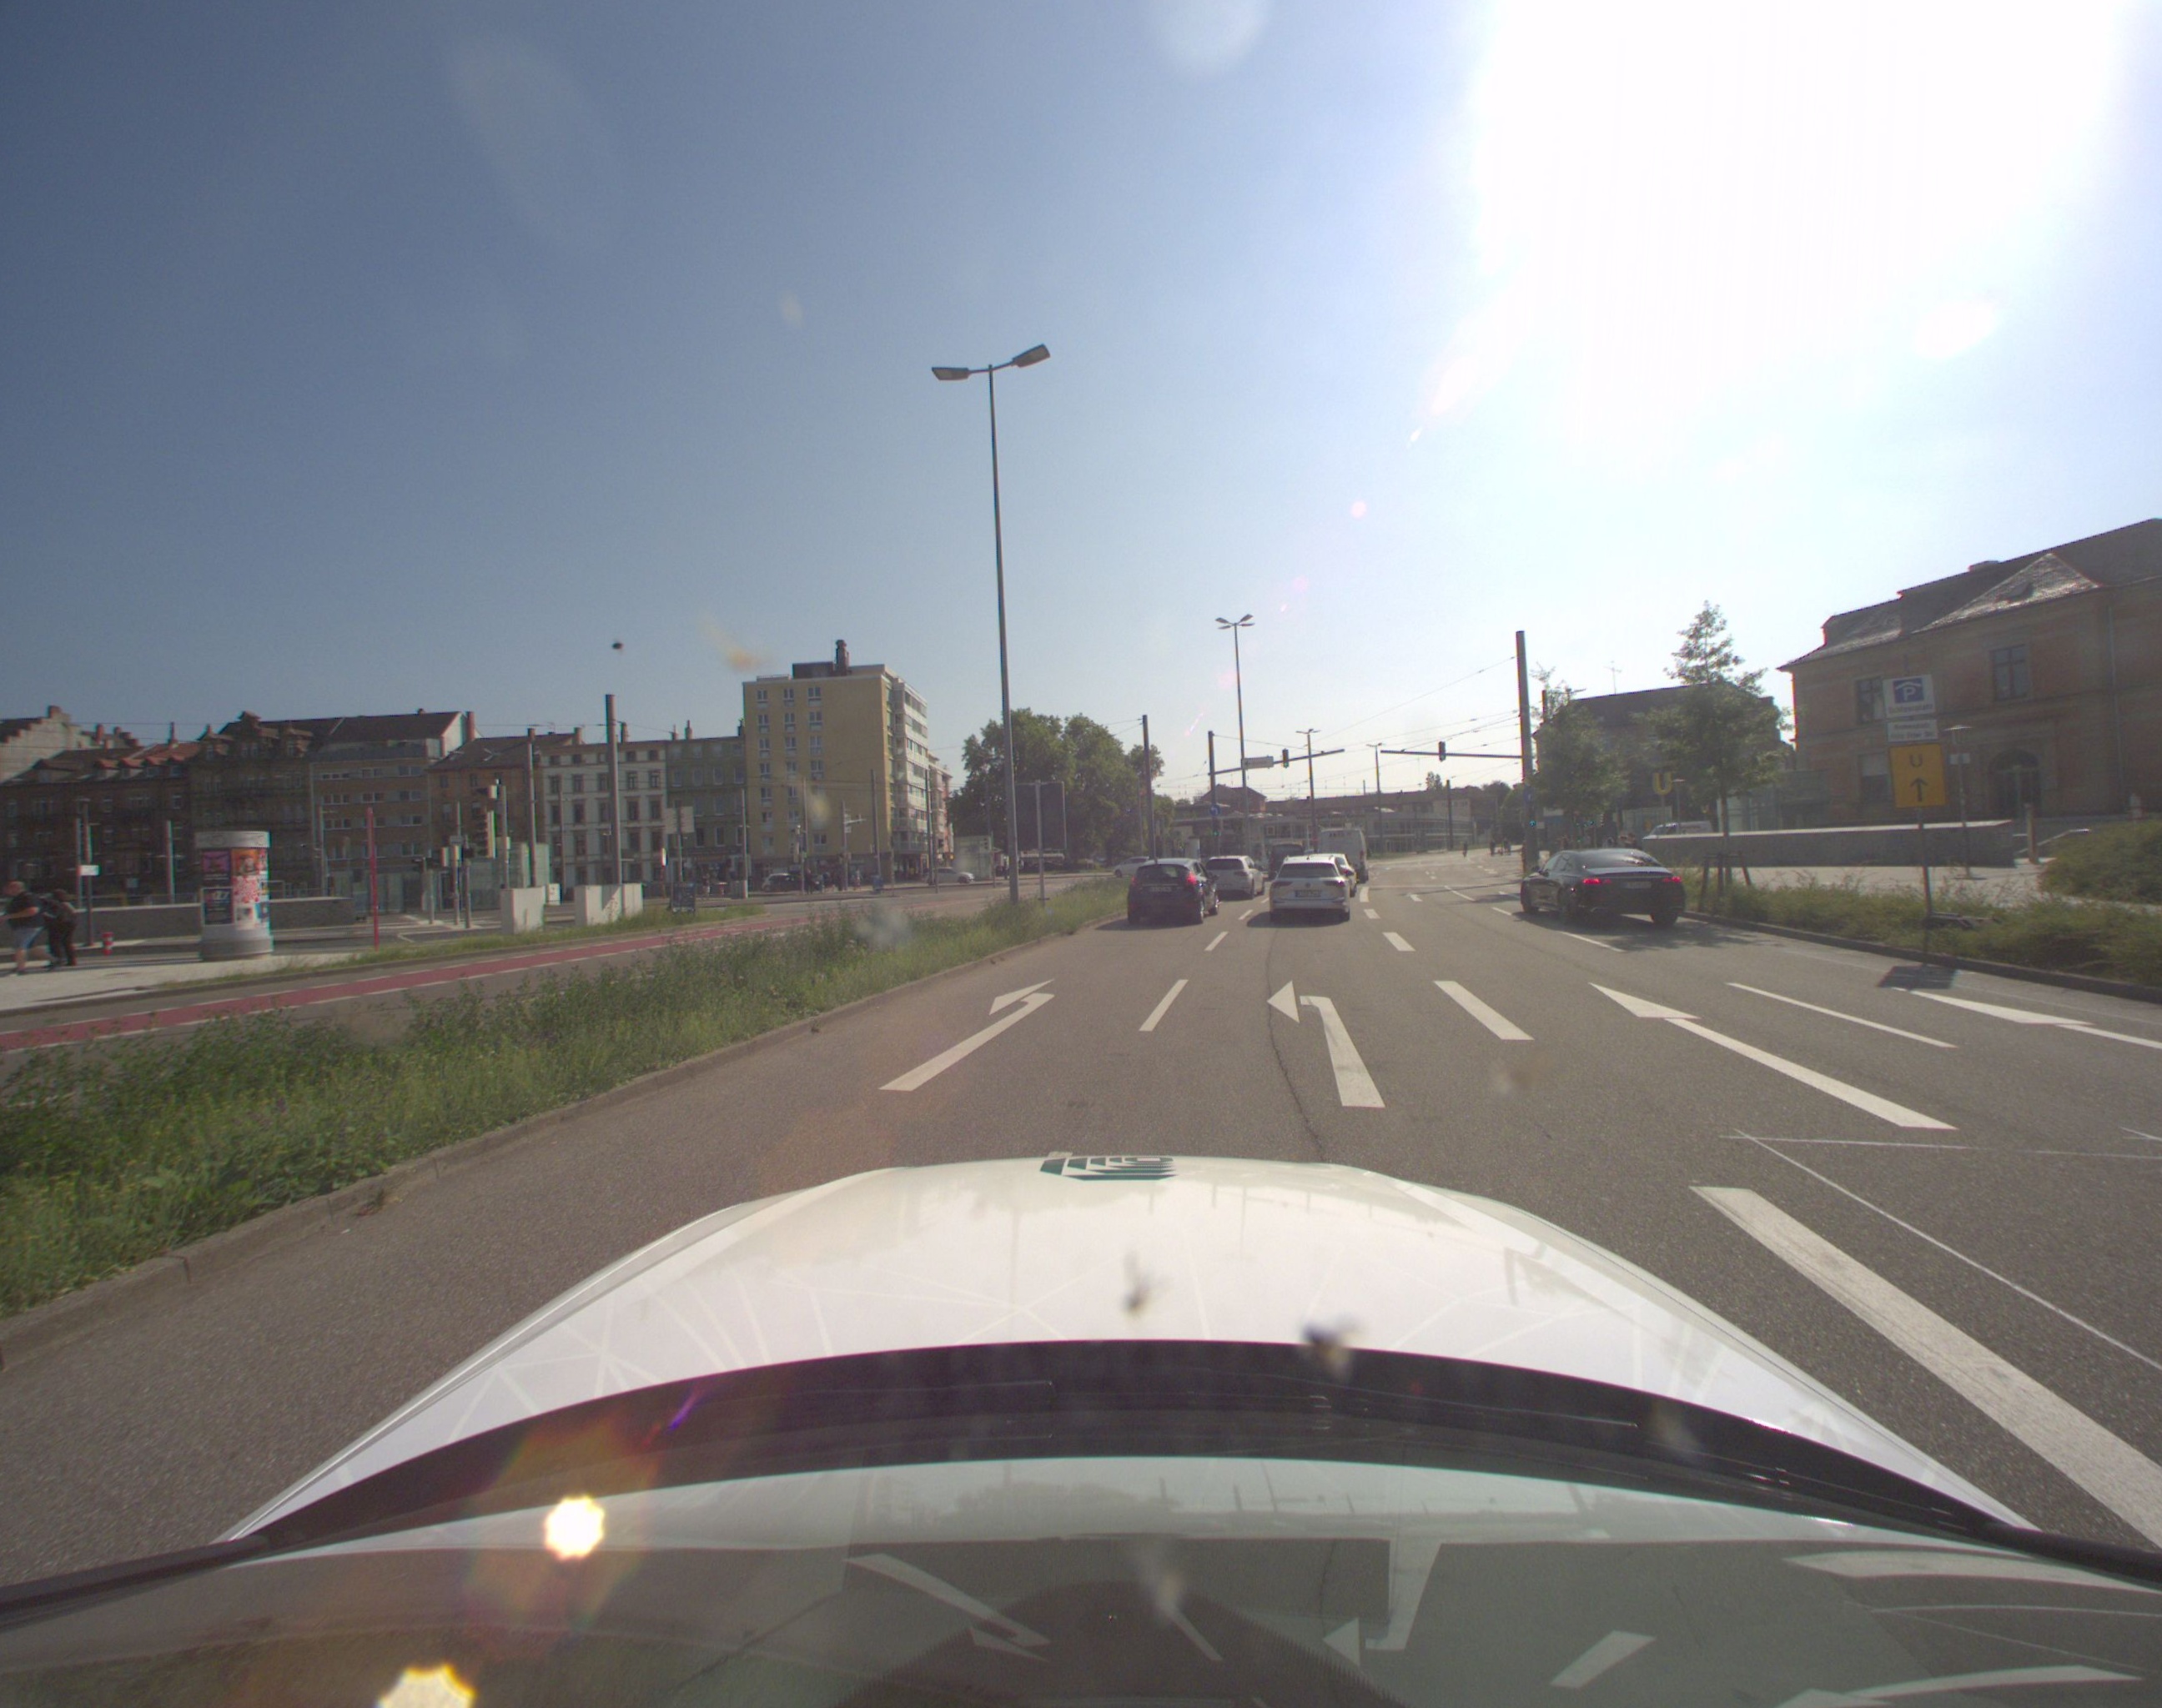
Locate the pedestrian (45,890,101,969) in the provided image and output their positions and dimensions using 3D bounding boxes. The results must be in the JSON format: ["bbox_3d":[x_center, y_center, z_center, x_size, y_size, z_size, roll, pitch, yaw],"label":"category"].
[{"bbox_3d":[-21.206,1.583,17.142,0.493,1.579,0.510,-2,2,17],"label":"pedestrian"}]

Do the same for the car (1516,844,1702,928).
[{"bbox_3d":[10.593,0.578,16.796,1.806,1.440,4.894,-2,0,16],"label":"car"}]

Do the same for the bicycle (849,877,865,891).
[{"bbox_3d":[-17.566,2.348,63.845,0.725,0.984,1.731,-2,-1,-2],"label":"bicycle"}]

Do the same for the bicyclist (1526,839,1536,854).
[{"bbox_3d":[45.956,-0.738,83.195,0.796,1.460,0.753,-3,-1,32],"label":"bicyclist"}]

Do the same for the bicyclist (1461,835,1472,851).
[{"bbox_3d":[37.816,-1.065,79.878,0.764,1.578,0.997,-3,-1,35],"label":"bicyclist"}]

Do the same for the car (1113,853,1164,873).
[{"bbox_3d":[4.643,0.751,66.153,1.637,1.502,4.038,-1,-1,-44],"label":"car"}]

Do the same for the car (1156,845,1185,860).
[{"bbox_3d":[13.391,-0.288,121.550,3.959,2.013,2.008,-2,2,13],"label":"car"}]

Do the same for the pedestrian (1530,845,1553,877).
[{"bbox_3d":[20.234,0.289,35.788,0.632,1.362,0.636,-3,-1,12],"label":"pedestrian"}]

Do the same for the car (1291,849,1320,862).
[{"bbox_3d":[25.057,0.163,90.830,1.876,1.324,4.159,-3,-1,34],"label":"car"}]

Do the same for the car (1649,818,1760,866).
[{"bbox_3d":[29.425,-0.602,38.480,3.979,2.013,1.752,-3,2,-4],"label":"car"}]

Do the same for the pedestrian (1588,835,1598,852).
[{"bbox_3d":[41.825,-0.874,66.539,0.651,1.360,0.663,-2,2,33],"label":"pedestrian"}]

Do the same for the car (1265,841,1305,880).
[{"bbox_3d":[11.566,0.357,46.107,2.008,2.008,4.702,-2,-1,15],"label":"car"}]

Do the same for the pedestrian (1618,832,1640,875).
[{"bbox_3d":[21.587,-0.022,32.090,0.608,1.639,0.537,-3,-1,36],"label":"pedestrian"}]

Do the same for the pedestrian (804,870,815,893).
[{"bbox_3d":[-20.886,2.129,62.628,0.450,1.684,0.551,-2,2,27],"label":"pedestrian"}]

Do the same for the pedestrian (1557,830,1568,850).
[{"bbox_3d":[46.404,-1.366,78.494,0.796,1.889,0.753,-3,-1,29],"label":"pedestrian"}]

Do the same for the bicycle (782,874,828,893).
[{"bbox_3d":[-26.491,2.869,78.237,3.973,1.551,1.196,-3,2,0],"label":"bicycle"}]

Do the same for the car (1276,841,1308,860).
[{"bbox_3d":[24.507,-0.420,94.428,1.974,2.013,4.694,-3,-1,36],"label":"car"}]

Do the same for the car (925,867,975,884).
[{"bbox_3d":[-10.726,1.736,66.775,3.814,1.180,1.577,-2,-1,2],"label":"car"}]

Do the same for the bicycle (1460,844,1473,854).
[{"bbox_3d":[37.839,-0.480,79.858,0.764,0.976,2.164,-3,-1,35],"label":"bicycle"}]

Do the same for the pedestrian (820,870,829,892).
[{"bbox_3d":[-20.217,2.135,64.171,0.458,1.684,0.435,-4,2,-36],"label":"pedestrian"}]

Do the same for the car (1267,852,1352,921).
[{"bbox_3d":[5.297,0.703,18.875,1.672,1.387,3.649,-2,-1,16],"label":"car"}]

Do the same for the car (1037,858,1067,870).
[{"bbox_3d":[-3.940,1.385,112.848,3.972,1.558,1.728,-3,-1,1],"label":"car"}]

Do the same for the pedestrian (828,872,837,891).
[{"bbox_3d":[-19.689,2.179,64.455,0.501,1.487,0.435,-4,2,-36],"label":"pedestrian"}]

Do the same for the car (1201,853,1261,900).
[{"bbox_3d":[5.157,0.718,27.668,1.477,1.415,3.665,-2,0,18],"label":"car"}]

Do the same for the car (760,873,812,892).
[{"bbox_3d":[-25.321,2.421,69.963,3.722,1.393,1.588,-3,-1,2],"label":"car"}]

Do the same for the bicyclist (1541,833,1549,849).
[{"bbox_3d":[53.884,-1.556,94.641,0.739,1.829,0.811,-3,-1,29],"label":"bicyclist"}]

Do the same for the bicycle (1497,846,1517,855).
[{"bbox_3d":[44.810,-0.402,85.642,1.780,0.885,0.766,-3,-1,32],"label":"bicycle"}]

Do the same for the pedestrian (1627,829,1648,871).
[{"bbox_3d":[22.320,-0.172,32.645,0.608,1.628,0.537,-3,-1,36],"label":"pedestrian"}]

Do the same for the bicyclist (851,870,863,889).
[{"bbox_3d":[-17.576,2.012,63.833,0.724,1.434,0.689,-2,-1,-2],"label":"bicyclist"}]

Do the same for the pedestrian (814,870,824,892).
[{"bbox_3d":[-20.284,2.076,63.055,0.451,1.684,0.549,-2,2,14],"label":"pedestrian"}]

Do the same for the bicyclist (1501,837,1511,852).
[{"bbox_3d":[44.755,-1.027,85.670,0.796,1.498,0.753,-3,-1,32],"label":"bicyclist"}]

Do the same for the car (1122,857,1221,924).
[{"bbox_3d":[2.261,0.801,19.365,1.688,1.368,3.980,-2,0,15],"label":"car"}]

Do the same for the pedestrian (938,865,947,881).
[{"bbox_3d":[-14.522,1.963,85.521,0.848,1.621,0.541,-3,-1,-2],"label":"pedestrian"}]

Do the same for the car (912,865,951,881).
[{"bbox_3d":[-16.795,2.118,91.520,3.970,1.557,1.871,-3,2,3],"label":"car"}]

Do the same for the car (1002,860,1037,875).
[{"bbox_3d":[-7.466,1.653,99.351,3.972,1.558,1.728,-3,-1,1],"label":"car"}]

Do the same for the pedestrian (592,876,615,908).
[{"bbox_3d":[-27.286,2.170,46.549,0.774,1.786,0.857,-1,2,0],"label":"pedestrian"}]

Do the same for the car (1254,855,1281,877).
[{"bbox_3d":[13.526,0.845,59.266,1.555,1.373,4.007,-2,2,8],"label":"car"}]

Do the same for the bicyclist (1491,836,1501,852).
[{"bbox_3d":[38.672,-0.936,75.859,0.706,1.529,0.811,-3,-1,29],"label":"bicyclist"}]

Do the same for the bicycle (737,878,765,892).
[{"bbox_3d":[-32.063,3.030,79.148,2.459,1.115,0.733,-4,2,-26],"label":"bicycle"}]

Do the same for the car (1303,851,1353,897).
[{"bbox_3d":[8.357,0.648,27.663,1.477,1.403,3.959,-2,-1,16],"label":"car"}]

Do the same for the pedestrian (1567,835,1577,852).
[{"bbox_3d":[41.911,-0.917,69.550,0.651,1.360,0.663,-2,2,33],"label":"pedestrian"}]

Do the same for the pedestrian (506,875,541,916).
[{"bbox_3d":[-28.777,2.118,42.030,0.954,2.013,1.023,-3,2,3],"label":"pedestrian"}]

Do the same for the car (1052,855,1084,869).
[{"bbox_3d":[-1.603,1.026,103.867,3.972,1.558,1.728,-3,-1,1],"label":"car"}]

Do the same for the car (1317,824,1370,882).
[{"bbox_3d":[12.537,-0.016,38.870,2.171,2.549,4.705,-2,-1,18],"label":"car"}]

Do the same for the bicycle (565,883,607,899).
[{"bbox_3d":[-47.999,3.617,78.972,3.517,1.347,0.774,-3,2,0],"label":"bicycle"}]

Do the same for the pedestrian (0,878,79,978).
[{"bbox_3d":[-20.629,1.428,16.090,0.870,1.819,0.901,-1,3,43],"label":"pedestrian"}]

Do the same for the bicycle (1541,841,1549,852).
[{"bbox_3d":[53.898,-0.918,94.610,0.732,1.217,2.259,-3,0,29],"label":"bicycle"}]

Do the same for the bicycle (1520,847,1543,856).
[{"bbox_3d":[46.006,-0.257,83.170,2.032,0.894,0.751,-3,-1,32],"label":"bicycle"}]
